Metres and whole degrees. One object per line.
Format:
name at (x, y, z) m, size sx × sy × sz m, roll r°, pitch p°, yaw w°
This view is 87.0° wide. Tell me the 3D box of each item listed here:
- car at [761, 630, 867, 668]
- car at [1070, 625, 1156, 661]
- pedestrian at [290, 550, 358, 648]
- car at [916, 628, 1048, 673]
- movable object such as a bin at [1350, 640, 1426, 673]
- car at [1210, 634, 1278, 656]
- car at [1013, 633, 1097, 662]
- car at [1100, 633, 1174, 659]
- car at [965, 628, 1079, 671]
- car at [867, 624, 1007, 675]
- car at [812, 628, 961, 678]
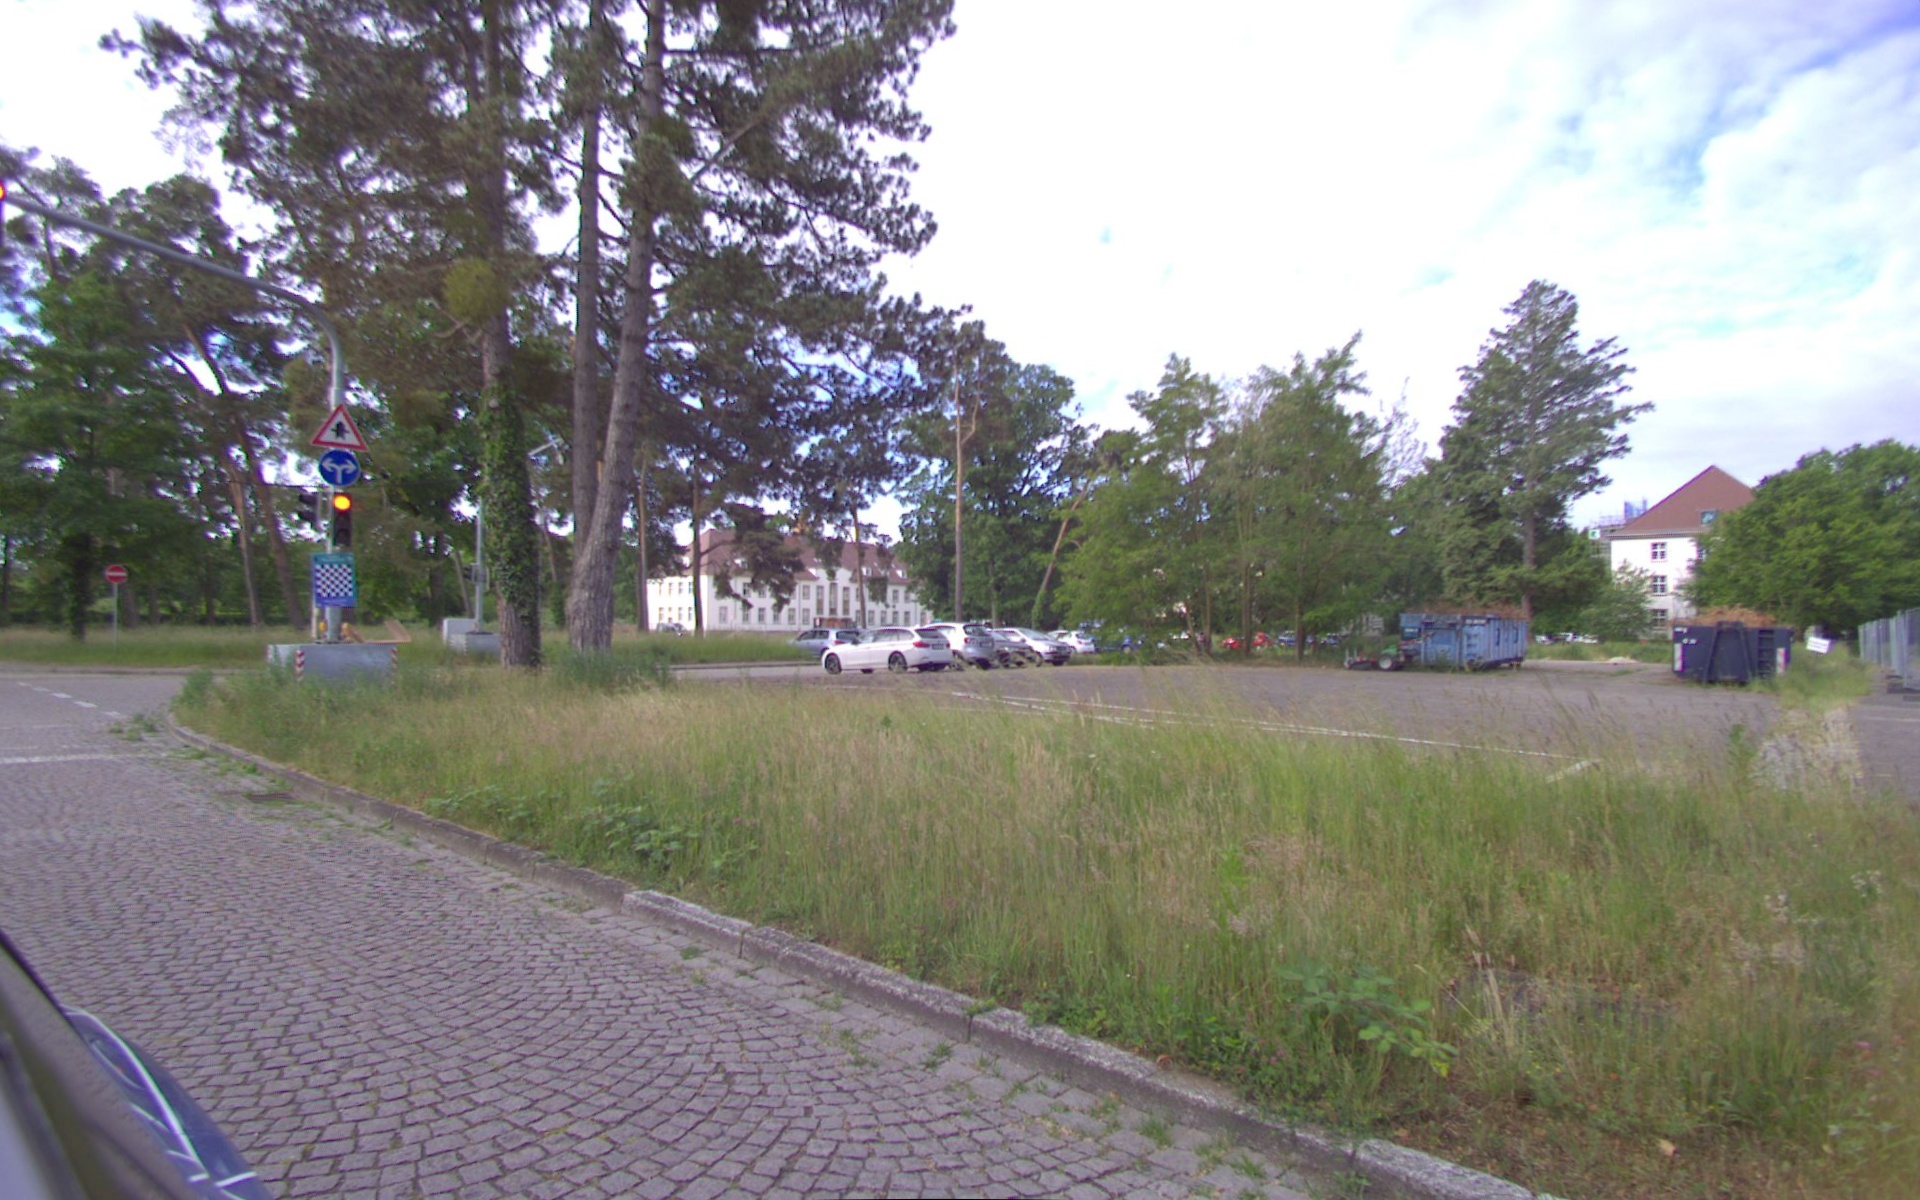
car at (-6.439, 2.163, 44.495) m, size 4.572 × 1.559 × 1.820 m, roll -3°, pitch -3°, yaw 34°
car at (9.318, 2.672, 61.980) m, size 4.978 × 2.113 × 1.816 m, roll -3°, pitch -4°, yaw 40°
pedestrian at (-10.353, 0.004, 16.475) m, size 0.869 × 1.529 × 0.824 m, roll 2°, pitch -2°, yaw -35°
car at (0.724, 1.804, 35.892) m, size 4.583 × 1.480 × 1.815 m, roll -3°, pitch -4°, yaw 42°
movable object such as a bin at (12.811, 1.688, 30.276) m, size 1.931 × 0.940 × 1.029 m, roll -1°, pitch -3°, yaw 35°
car at (21.437, 3.407, 76.545) m, size 4.579 × 1.533 × 1.817 m, roll -3°, pitch -4°, yaw 39°
car at (5.446, 2.755, 58.349) m, size 4.579 × 1.586 × 1.817 m, roll -3°, pitch -4°, yaw 39°
car at (11.146, 2.931, 63.858) m, size 4.283 × 1.533 × 1.727 m, roll -3°, pitch -4°, yaw 39°
car at (2.289, 1.895, 38.126) m, size 4.112 × 1.533 × 1.714 m, roll -4°, pitch -4°, yaw 42°
car at (-0.820, 1.667, 33.771) m, size 4.579 × 1.590 × 1.817 m, roll -3°, pitch -4°, yaw 39°
car at (-2.362, 1.678, 31.692) m, size 4.650 × 1.461 × 1.817 m, roll -3°, pitch -4°, yaw 39°
